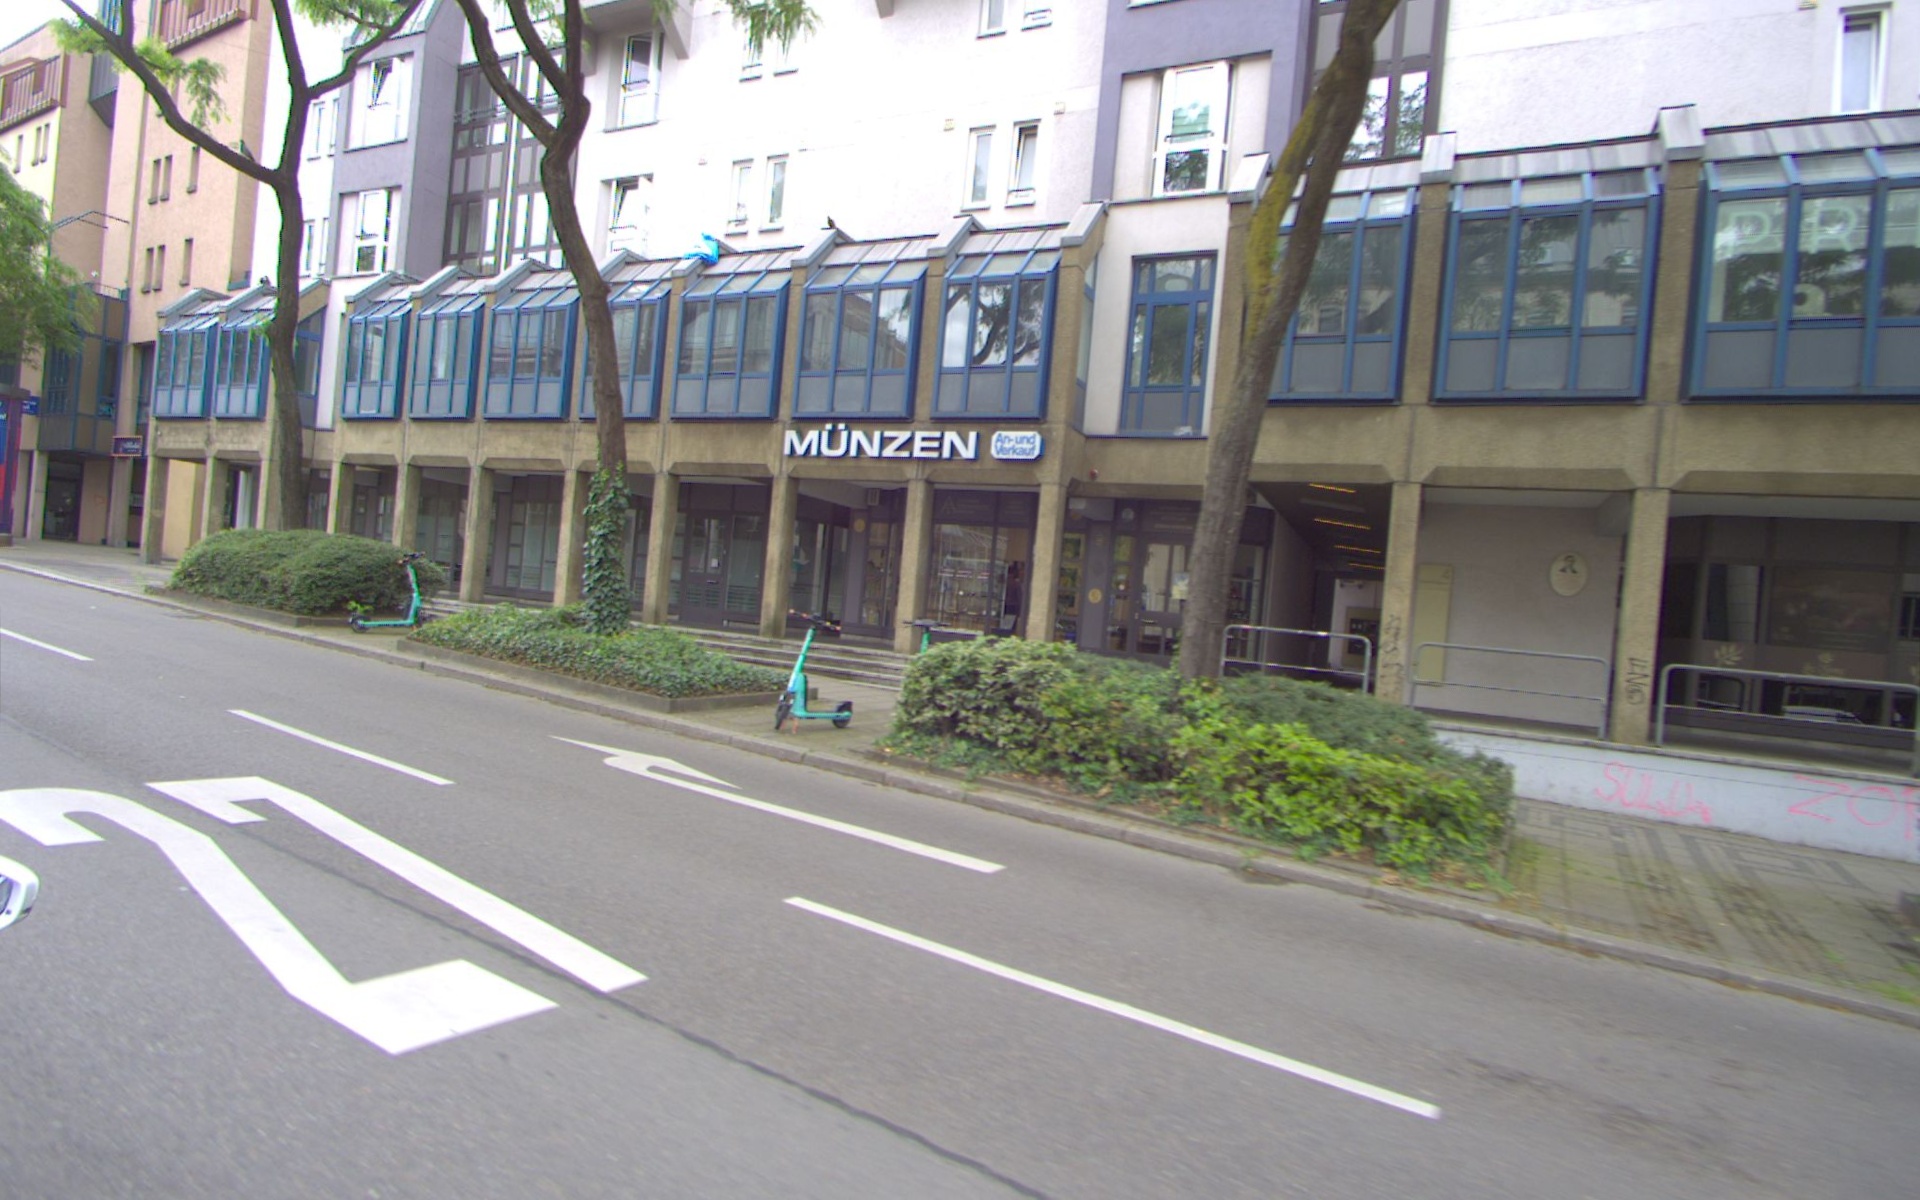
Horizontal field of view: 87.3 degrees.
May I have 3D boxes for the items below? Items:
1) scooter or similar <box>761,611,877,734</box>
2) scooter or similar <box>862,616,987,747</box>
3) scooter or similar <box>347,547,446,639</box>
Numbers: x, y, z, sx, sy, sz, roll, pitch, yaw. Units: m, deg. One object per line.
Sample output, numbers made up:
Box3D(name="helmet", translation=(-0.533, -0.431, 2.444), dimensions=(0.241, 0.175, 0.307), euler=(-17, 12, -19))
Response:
Box3D(name="scooter or similar", translation=(-1.477, 0.763, 10.608), dimensions=(0.421, 1.197, 1.105), euler=(8, 3, 41))
Box3D(name="scooter or similar", translation=(-0.370, 0.864, 11.018), dimensions=(0.712, 1.285, 1.196), euler=(7, 2, 31))
Box3D(name="scooter or similar", translation=(-8.424, -0.090, 15.052), dimensions=(0.419, 1.302, 1.159), euler=(8, 3, 40))
